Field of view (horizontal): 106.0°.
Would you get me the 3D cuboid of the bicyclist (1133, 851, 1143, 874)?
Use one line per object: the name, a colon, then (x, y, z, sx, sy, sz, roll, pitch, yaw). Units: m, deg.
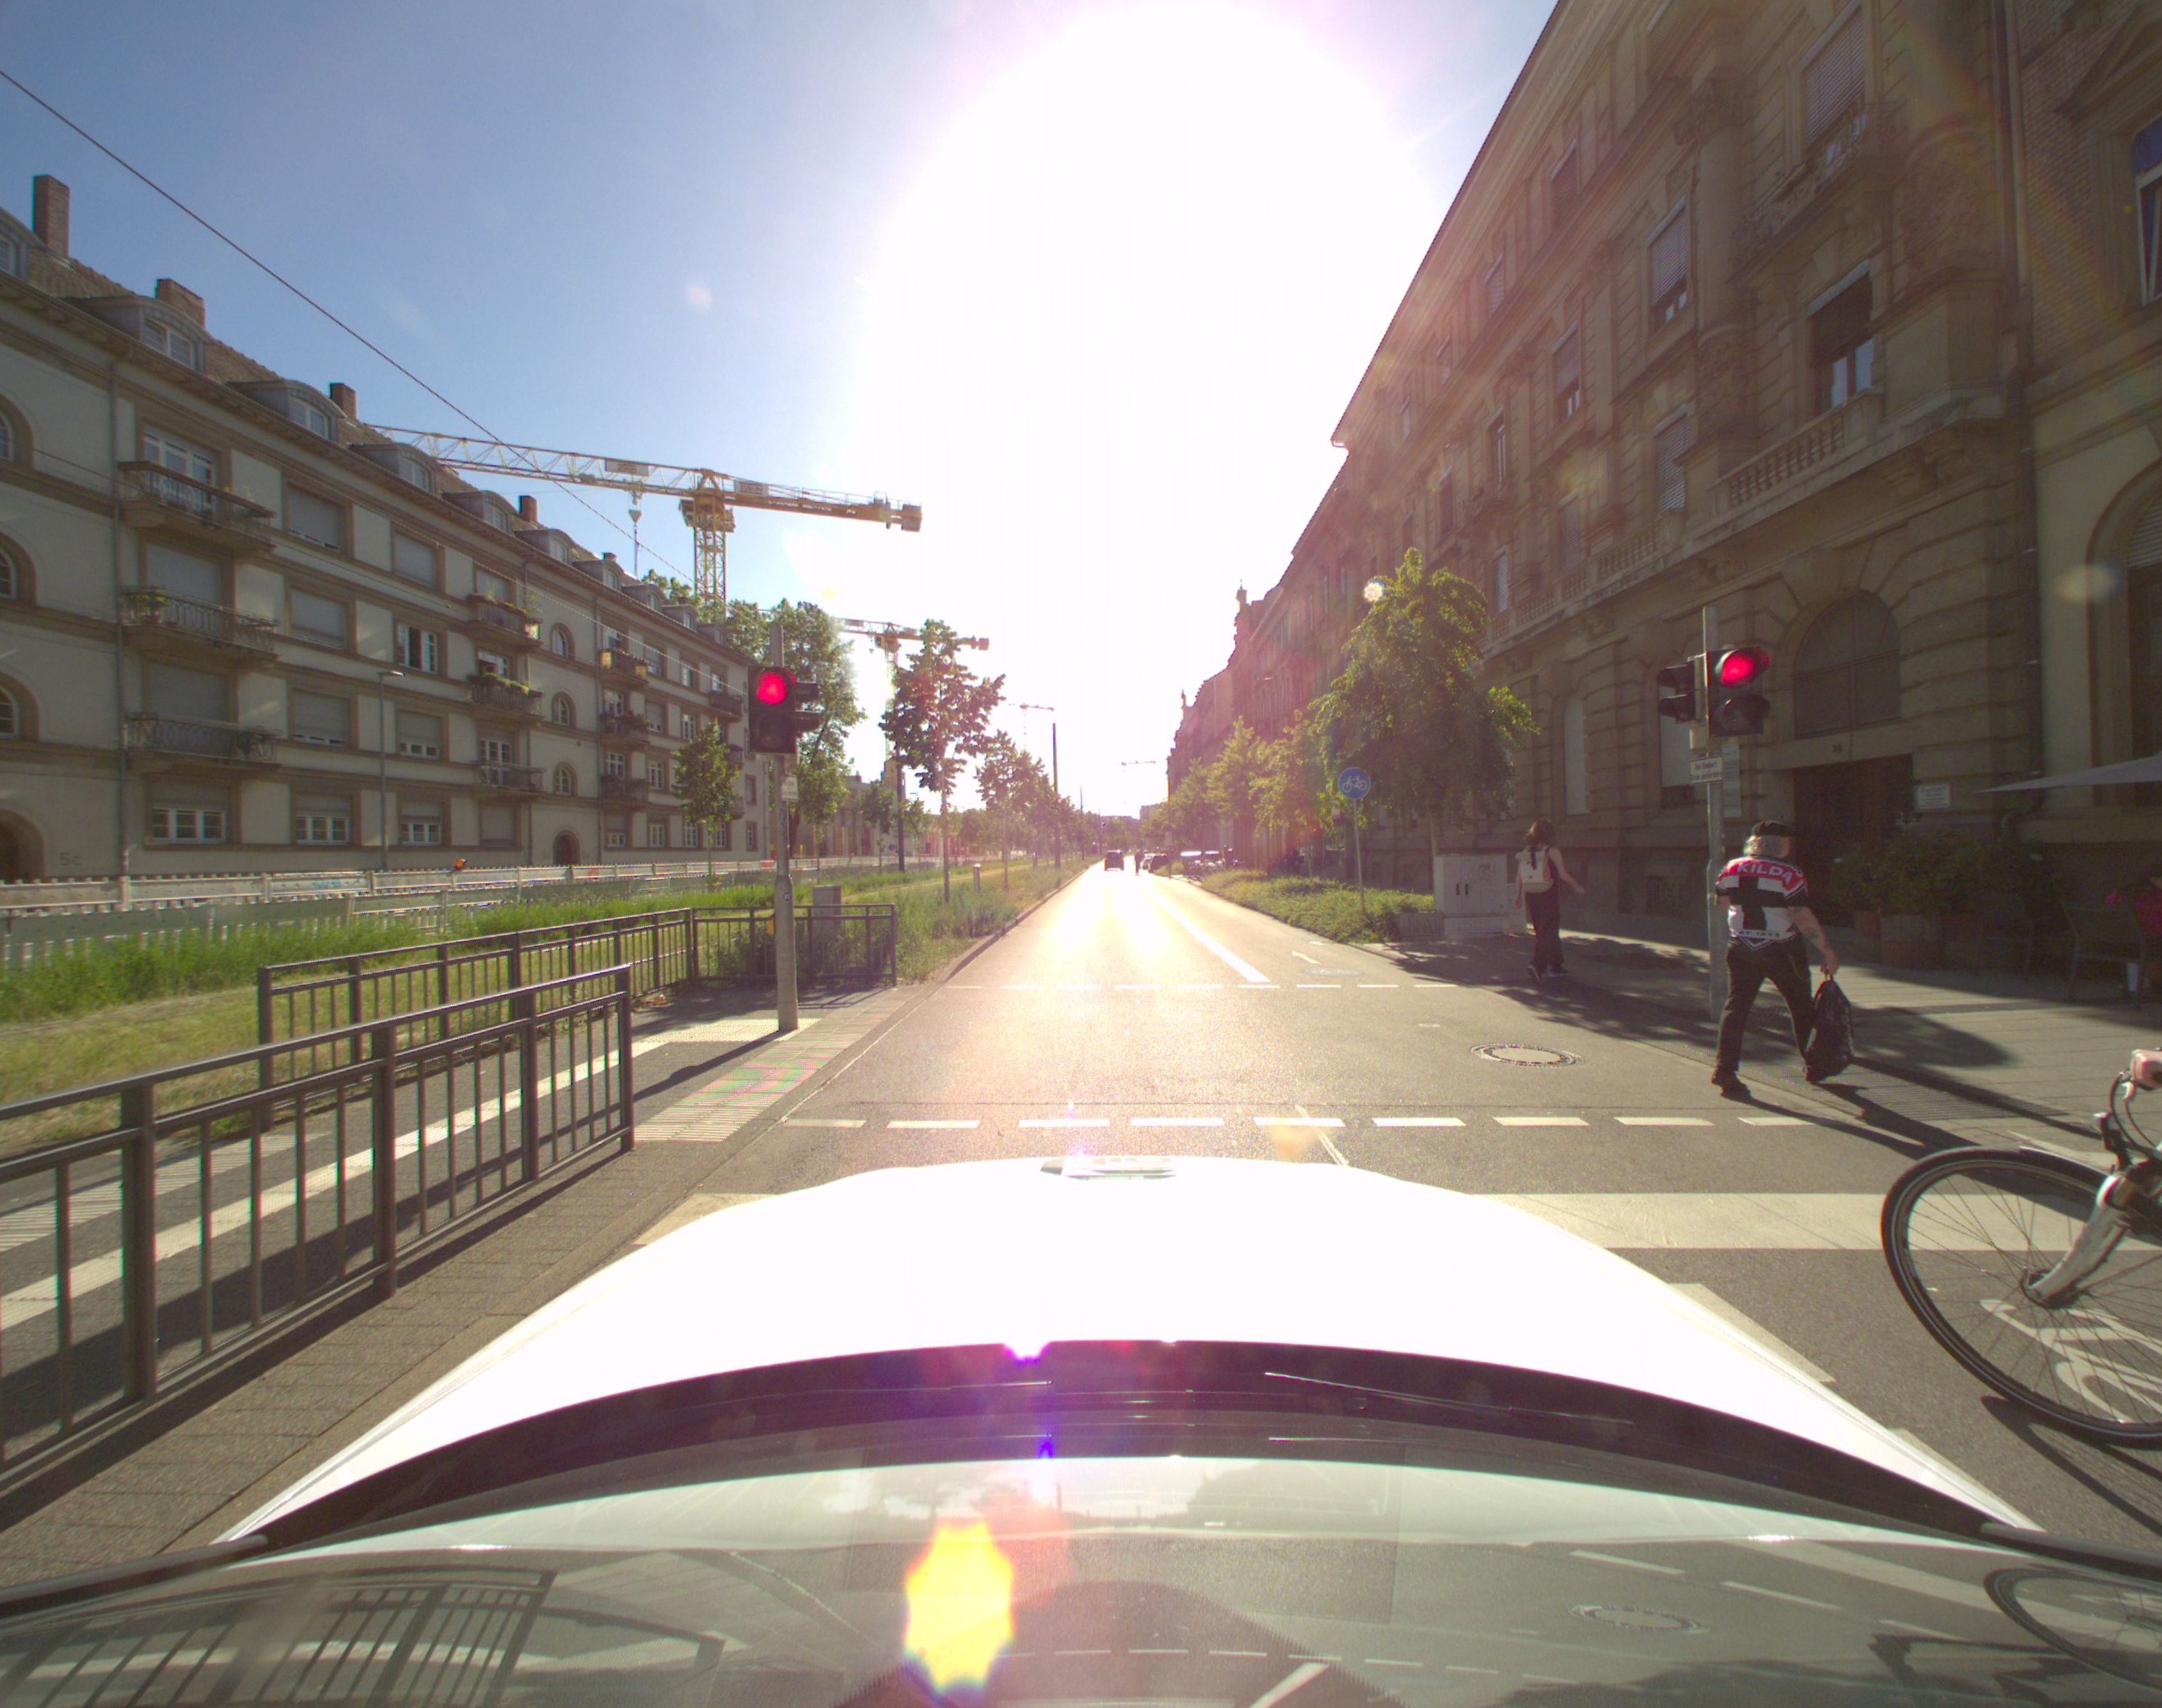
bicyclist: (4.338, 0.638, 61.760, 0.681, 1.673, 0.922, 0, 0, 1)

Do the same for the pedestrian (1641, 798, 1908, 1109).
pedestrian: (4.357, 0.568, 5.204, 0.863, 1.788, 0.969, -1, 0, -5)

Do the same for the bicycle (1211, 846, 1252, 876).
bicycle: (7.618, 0.350, 41.195, 1.880, 1.330, 0.620, -6, 0, 14)

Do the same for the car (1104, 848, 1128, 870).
car: (3.259, 0.421, 76.525, 2.192, 1.926, 4.655, -2, 0, 2)

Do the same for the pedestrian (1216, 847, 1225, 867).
pedestrian: (11.306, 0.274, 66.157, 0.611, 1.611, 0.669, -2, 0, 1)

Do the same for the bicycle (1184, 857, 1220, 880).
bicycle: (6.546, 0.788, 43.934, 1.786, 1.030, 0.528, -6, 0, 1)

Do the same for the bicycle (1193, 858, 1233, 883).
bicycle: (6.406, 0.813, 39.588, 1.786, 1.030, 0.528, -6, 0, 1)

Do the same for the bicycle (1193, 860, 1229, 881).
bicycle: (6.792, 0.862, 42.519, 1.786, 1.030, 0.528, -2, 0, 1)

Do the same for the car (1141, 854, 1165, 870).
car: (6.992, 0.742, 79.791, 2.020, 1.499, 4.532, -2, 0, 2)

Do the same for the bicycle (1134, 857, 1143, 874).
bicycle: (4.318, 0.859, 61.511, 0.599, 1.181, 1.870, 0, 0, 1)

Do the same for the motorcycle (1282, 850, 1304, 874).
motorcycle: (11.471, 0.428, 44.044, 0.697, 1.267, 1.983, -2, 0, 2)

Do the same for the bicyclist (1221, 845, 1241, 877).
bicyclist: (7.582, 0.348, 41.196, 0.792, 1.530, 0.665, -6, 0, 15)

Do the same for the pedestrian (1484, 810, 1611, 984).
pedestrian: (5.419, 0.474, 9.492, 1.076, 1.908, 0.651, -2, 0, -11)

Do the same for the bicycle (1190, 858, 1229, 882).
bicycle: (6.441, 0.783, 40.962, 1.786, 1.030, 0.528, -6, 0, 1)

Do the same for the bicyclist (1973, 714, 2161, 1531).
bicyclist: (2.653, 0.563, 1.638, 0.776, 1.711, 0.869, 0, 0, 1)

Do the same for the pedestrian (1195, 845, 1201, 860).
pedestrian: (12.745, -0.147, 88.635, 0.611, 1.611, 0.669, -2, 0, 1)

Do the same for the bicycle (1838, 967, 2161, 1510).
bicycle: (2.680, 0.914, 1.707, 0.555, 1.092, 1.793, 0, 0, 1)

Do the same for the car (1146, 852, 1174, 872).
car: (6.505, 0.638, 67.421, 2.020, 1.499, 4.655, -2, 0, 2)

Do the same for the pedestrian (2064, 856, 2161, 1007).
pedestrian: (9.102, 0.630, 6.905, 0.703, 1.178, 0.635, -3, 0, 1)
